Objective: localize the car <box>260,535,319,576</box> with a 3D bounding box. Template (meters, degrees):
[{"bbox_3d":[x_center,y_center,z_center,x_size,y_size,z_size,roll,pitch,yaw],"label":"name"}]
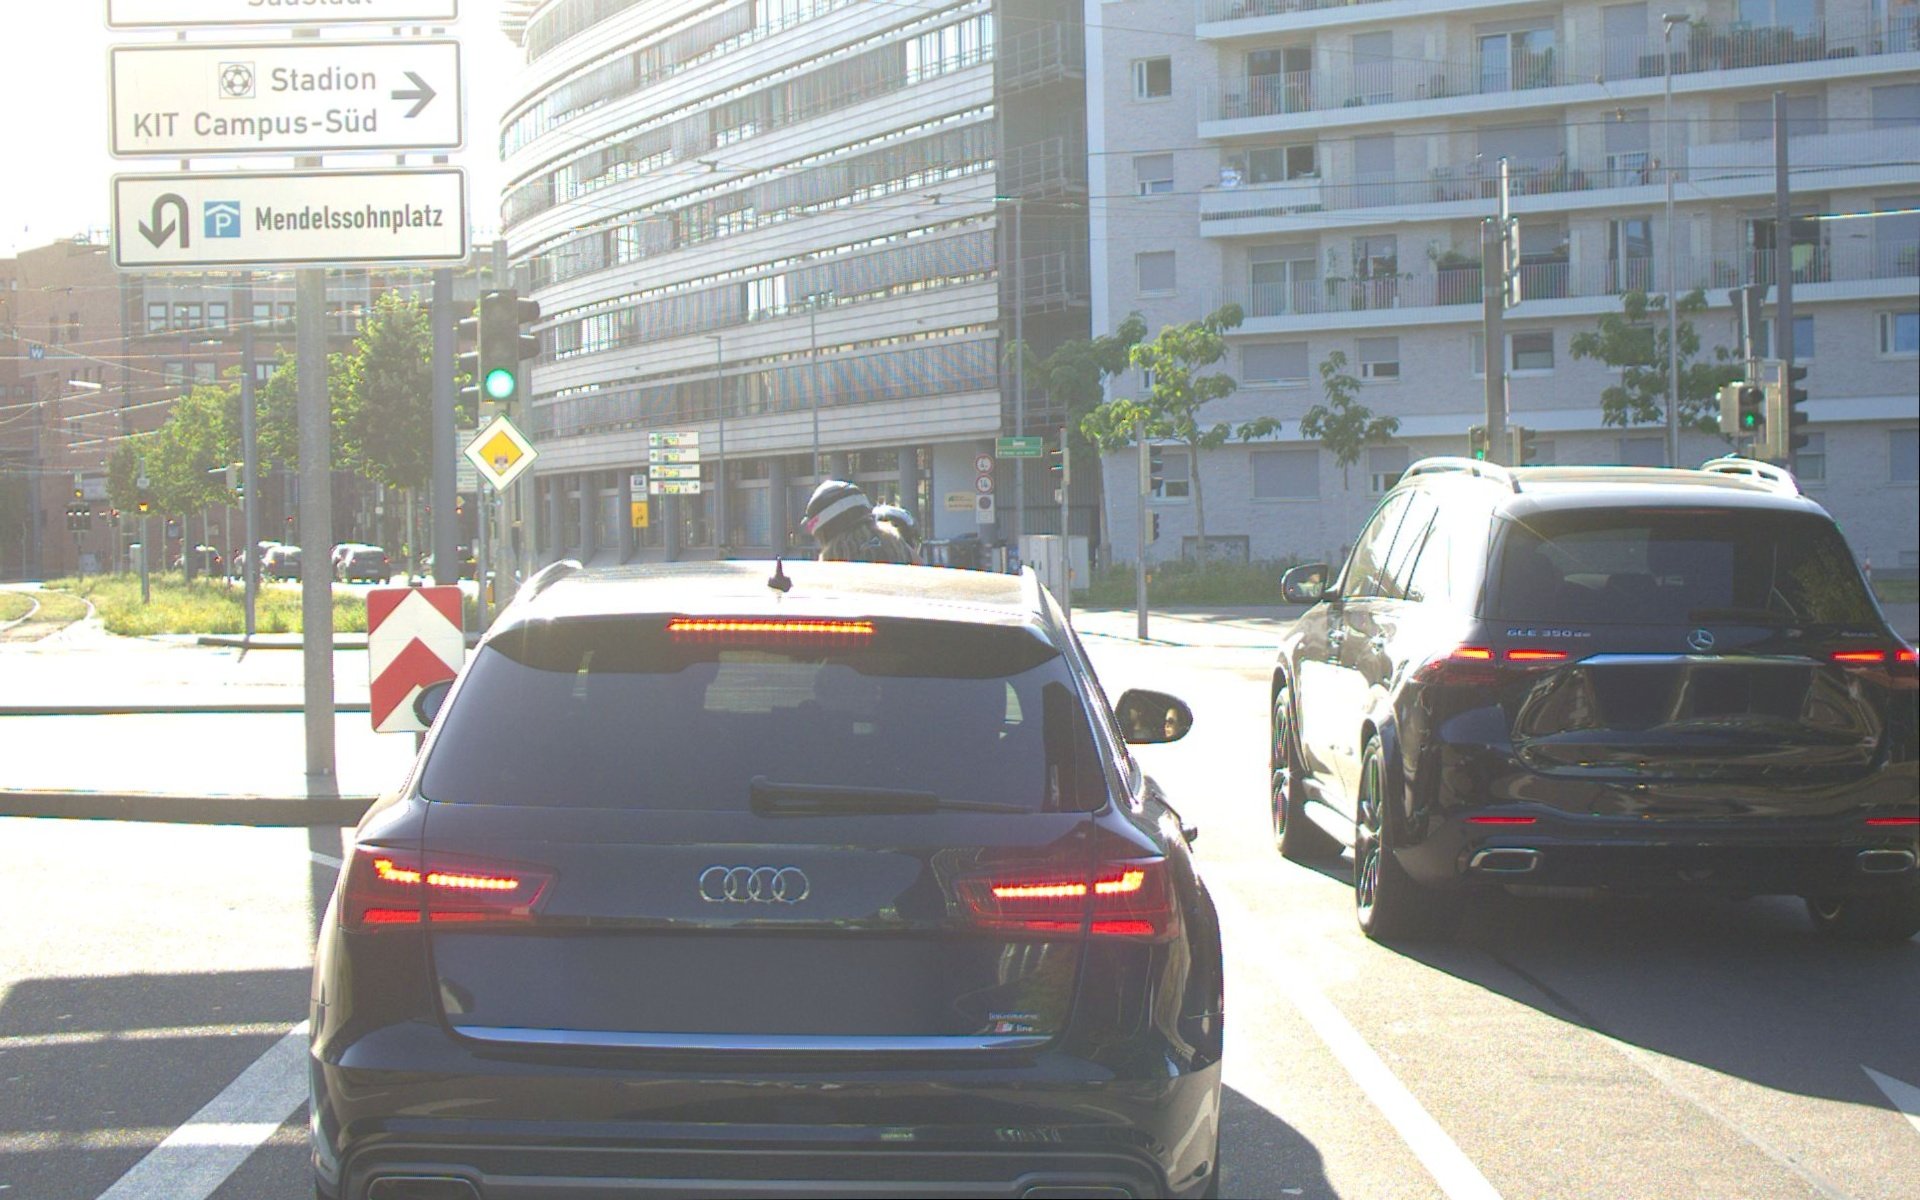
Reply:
[{"bbox_3d":[-27.231,-1.795,139.526,1.993,1.590,4.001,-2,1,-16],"label":"car"}]

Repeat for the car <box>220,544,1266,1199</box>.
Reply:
[{"bbox_3d":[-0.423,0.624,8.106,1.842,1.449,4.001,1,1,-1],"label":"car"}]

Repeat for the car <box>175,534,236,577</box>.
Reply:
[{"bbox_3d":[-31.783,-1.852,144.744,1.993,1.700,4.001,-2,1,-19],"label":"car"}]

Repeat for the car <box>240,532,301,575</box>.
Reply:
[{"bbox_3d":[-29.207,-1.957,145.514,1.993,1.700,4.001,-2,1,-19],"label":"car"}]

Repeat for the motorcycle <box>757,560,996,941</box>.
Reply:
[{"bbox_3d":[-0.319,0.545,13.650,0.862,1.388,1.894,-1,1,-1],"label":"motorcycle"}]

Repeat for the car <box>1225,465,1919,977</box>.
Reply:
[{"bbox_3d":[2.387,0.355,13.768,2.003,1.709,4.373,1,1,-4],"label":"car"}]

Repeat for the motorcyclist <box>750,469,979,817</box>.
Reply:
[{"bbox_3d":[-0.369,0.160,13.517,0.862,1.322,0.681,-1,1,-1],"label":"motorcyclist"}]

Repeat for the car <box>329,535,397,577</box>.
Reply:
[{"bbox_3d":[-23.815,-1.742,137.096,1.993,1.590,4.001,-2,1,-19],"label":"car"}]

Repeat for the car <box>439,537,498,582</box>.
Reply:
[{"bbox_3d":[-21.352,-1.747,149.217,1.993,1.831,4.001,-2,1,-16],"label":"car"}]

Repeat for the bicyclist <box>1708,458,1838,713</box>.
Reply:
[{"bbox_3d":[5.350,-0.107,22.657,0.654,1.637,0.972,-1,1,3],"label":"bicyclist"}]
